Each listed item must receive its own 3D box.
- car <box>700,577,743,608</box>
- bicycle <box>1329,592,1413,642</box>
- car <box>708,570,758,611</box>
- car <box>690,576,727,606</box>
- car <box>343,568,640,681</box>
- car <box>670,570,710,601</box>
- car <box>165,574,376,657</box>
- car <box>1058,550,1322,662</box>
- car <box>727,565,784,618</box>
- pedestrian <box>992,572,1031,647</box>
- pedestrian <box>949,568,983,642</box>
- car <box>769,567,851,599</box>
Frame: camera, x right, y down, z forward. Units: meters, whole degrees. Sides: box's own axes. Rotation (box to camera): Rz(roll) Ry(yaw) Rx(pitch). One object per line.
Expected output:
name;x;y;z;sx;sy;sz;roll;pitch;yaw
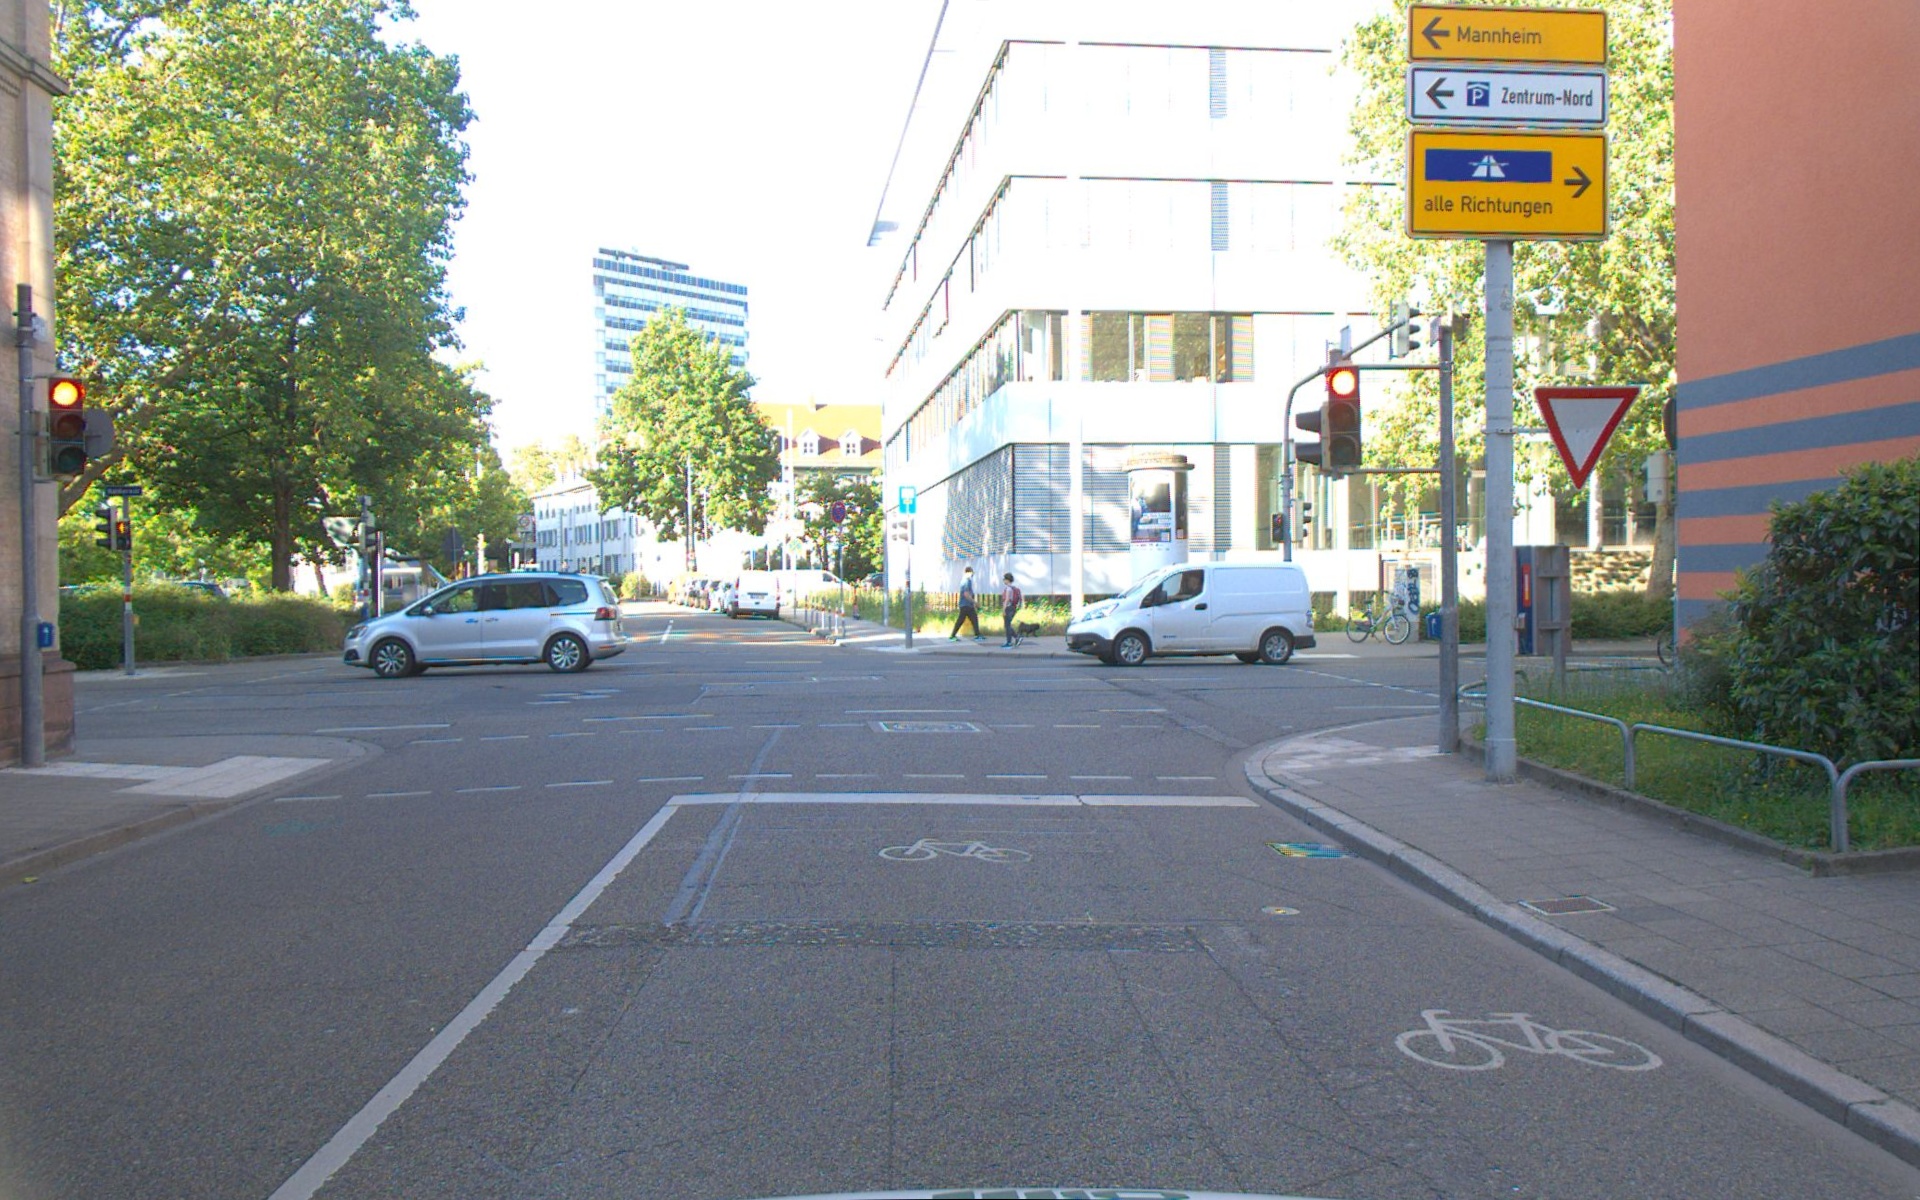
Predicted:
car;-11.742;-0.367;81.283;1.675;1.449;4.222;-1;1;-14
bicycle;9.112;0.365;36.707;0.460;1.067;1.886;-1;1;-42
car;-10.582;-0.436;76.798;1.913;1.826;4.224;-1;1;-13
car;-13.107;-0.504;86.029;1.674;1.489;4.226;-1;1;-12
car;-8.041;0.392;28.759;4.668;1.736;1.797;-2;1;-7
car;-15.665;-0.856;95.804;2.064;1.686;4.463;-1;1;-12
car;-15.881;0.330;38.286;4.146;1.808;1.901;-1;1;-9
car;4.155;0.090;30.153;4.455;1.831;1.634;-2;1;-8
car;-8.056;-0.344;64.925;2.029;1.997;4.229;-1;1;-9
pedestrian;1.127;0.197;36.368;0.697;1.627;0.618;-1;1;17
pedestrian;0.145;0.111;39.730;0.638;1.766;0.813;-1;1;12
car;-9.347;-1.023;103.115;4.804;1.905;1.990;1;0;-18
